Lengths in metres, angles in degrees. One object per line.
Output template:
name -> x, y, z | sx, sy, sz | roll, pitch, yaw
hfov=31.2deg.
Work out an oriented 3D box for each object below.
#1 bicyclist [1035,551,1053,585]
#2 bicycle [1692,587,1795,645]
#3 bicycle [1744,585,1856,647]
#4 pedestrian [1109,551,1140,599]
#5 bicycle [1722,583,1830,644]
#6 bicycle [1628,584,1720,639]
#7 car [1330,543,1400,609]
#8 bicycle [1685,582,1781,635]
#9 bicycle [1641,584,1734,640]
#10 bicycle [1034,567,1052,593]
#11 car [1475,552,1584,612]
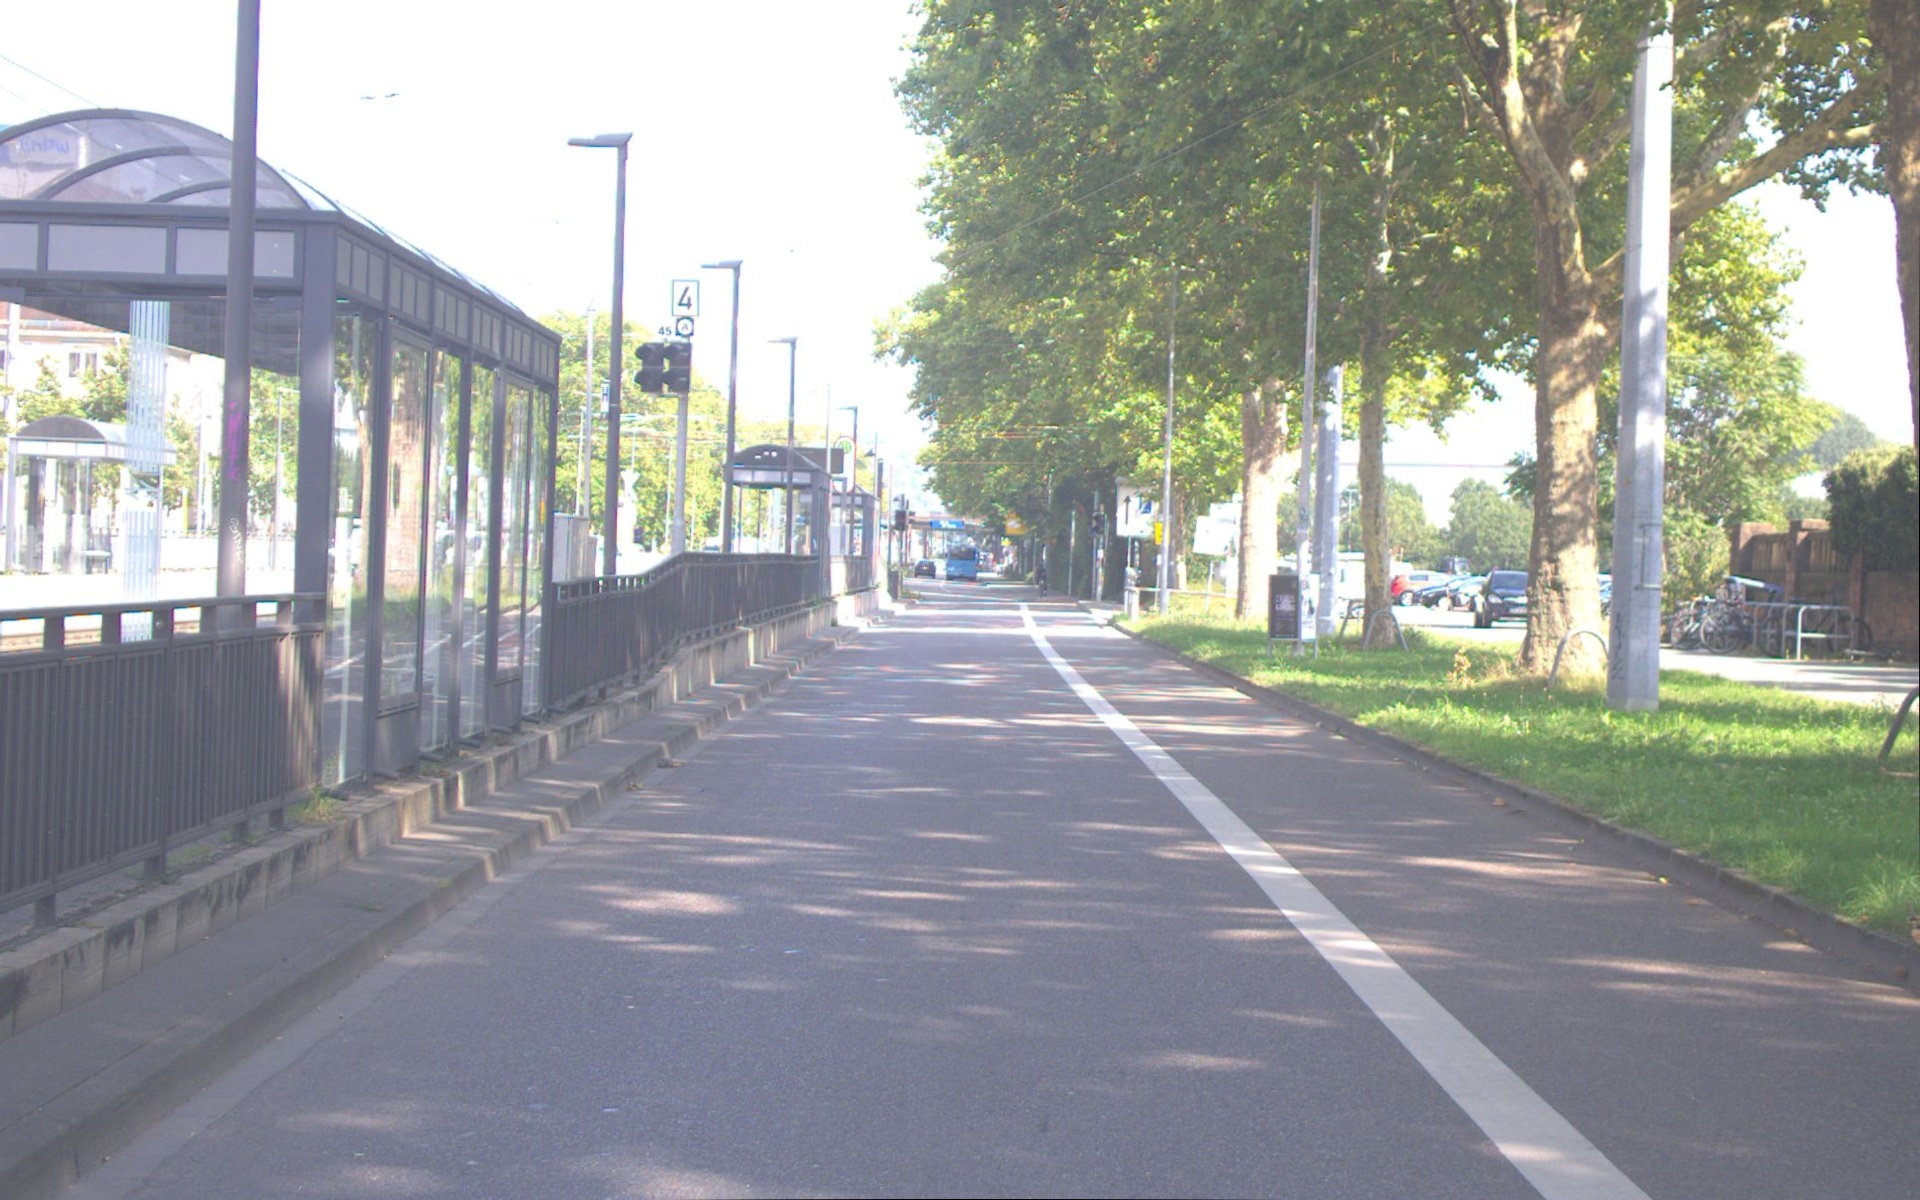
bicyclist -> 3.680, -1.399, 151.474 | 0.705, 1.456, 1.009 | 3, 0, 0
bicycle -> 13.383, 0.274, 58.722 | 1.656, 0.966, 0.506 | 0, 1, 6
bicycle -> 13.364, 0.249, 54.707 | 1.656, 0.966, 0.506 | 0, 1, 2
pedestrian -> 5.561, -0.839, 116.059 | 0.626, 1.612, 0.843 | 2, 1, 38
bicycle -> 13.211, 0.214, 55.680 | 1.656, 0.966, 0.506 | 0, 1, 6
bicycle -> 12.909, 0.208, 62.165 | 0.505, 0.966, 1.661 | 0, 1, -41
car -> 13.224, -0.801, 112.494 | 1.722, 2.041, 4.461 | 2, 1, 0
bicycle -> 14.167, 0.151, 63.043 | 1.656, 0.966, 0.506 | 0, 1, 3
bicycle -> 12.954, 0.210, 61.246 | 0.505, 0.966, 1.661 | 0, 1, -41
bicycle -> 3.654, -0.881, 151.530 | 0.715, 1.104, 2.509 | 3, 0, 0
car -> 16.470, -0.507, 99.293 | 1.725, 1.673, 4.242 | 2, 1, 29
